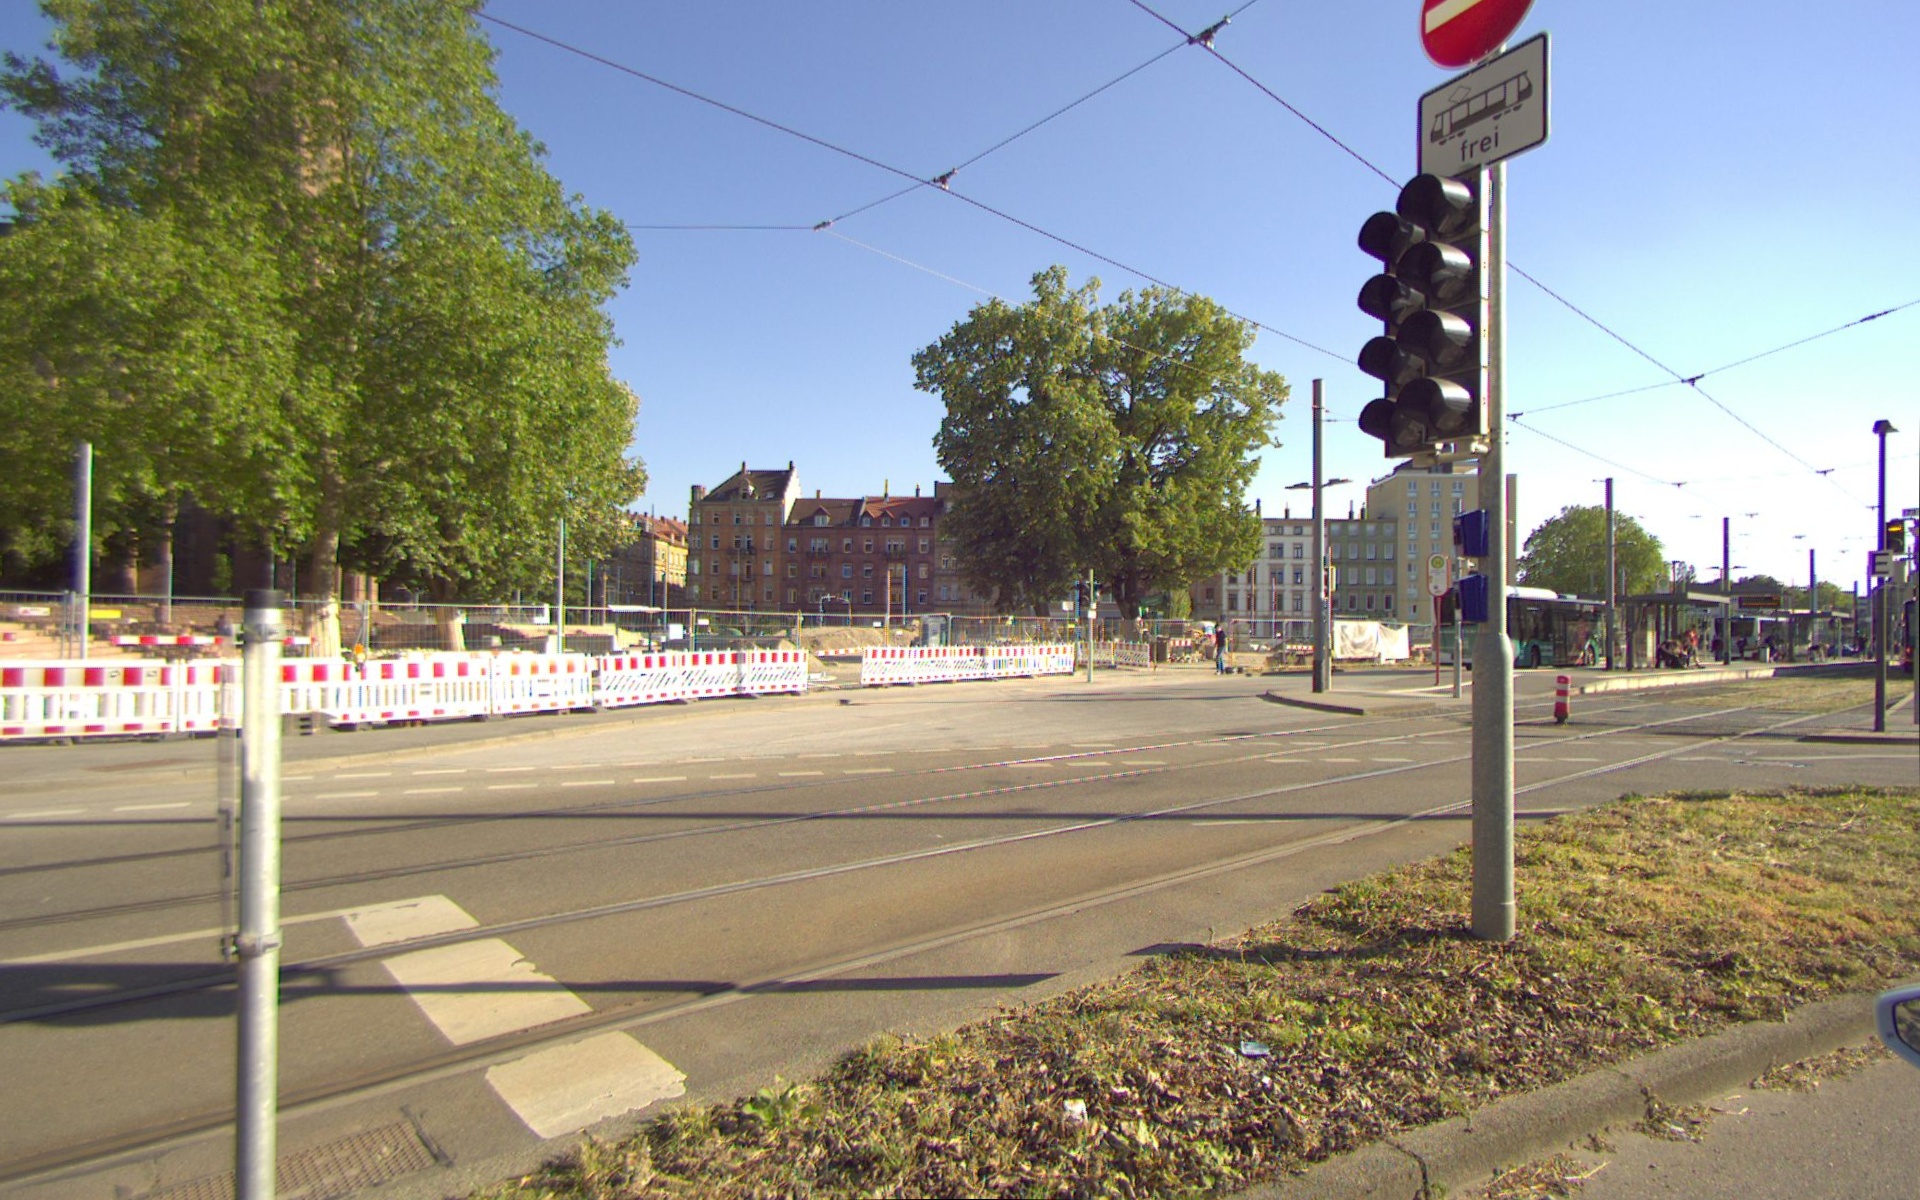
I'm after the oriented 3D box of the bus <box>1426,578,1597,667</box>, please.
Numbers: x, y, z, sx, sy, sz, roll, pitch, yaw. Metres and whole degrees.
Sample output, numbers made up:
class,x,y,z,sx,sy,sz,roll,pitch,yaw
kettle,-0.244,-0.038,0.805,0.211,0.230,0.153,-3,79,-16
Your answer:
class,x,y,z,sx,sy,sz,roll,pitch,yaw
bus,21.999,0.904,39.749,9.564,3.177,2.631,2,0,-40

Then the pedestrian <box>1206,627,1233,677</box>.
class,x,y,z,sx,sy,sz,roll,pitch,yaw
pedestrian,9.175,1.851,35.500,0.699,1.719,0.899,-1,-4,33

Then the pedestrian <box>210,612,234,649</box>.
class,x,y,z,sx,sy,sz,roll,pitch,yaw
pedestrian,-33.549,1.397,45.659,0.665,1.669,0.635,1,-1,-18

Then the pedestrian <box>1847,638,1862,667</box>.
class,x,y,z,sx,sy,sz,roll,pitch,yaw
pedestrian,56.428,3.293,63.350,0.629,1.772,0.570,-1,-2,34

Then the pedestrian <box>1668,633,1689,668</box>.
class,x,y,z,sx,sy,sz,roll,pitch,yaw
pedestrian,28.180,1.987,39.406,0.564,1.363,0.636,-1,-2,43

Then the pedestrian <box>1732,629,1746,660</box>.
class,x,y,z,sx,sy,sz,roll,pitch,yaw
pedestrian,44.733,2.545,57.683,0.564,1.772,0.636,-1,-2,41

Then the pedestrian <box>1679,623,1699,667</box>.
class,x,y,z,sx,sy,sz,roll,pitch,yaw
pedestrian,29.559,1.815,40.727,0.564,1.772,0.636,-1,-2,43

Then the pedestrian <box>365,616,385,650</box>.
class,x,y,z,sx,sy,sz,roll,pitch,yaw
pedestrian,-29.118,1.633,50.001,0.751,1.669,0.671,1,-1,-26

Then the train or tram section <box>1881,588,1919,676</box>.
class,x,y,z,sx,sy,sz,roll,pitch,yaw
train or tram section,44.753,1.496,45.826,12.108,3.644,2.855,2,0,-42

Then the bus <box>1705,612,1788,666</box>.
class,x,y,z,sx,sy,sz,roll,pitch,yaw
bus,53.959,2.637,68.748,13.376,3.317,2.694,2,0,-44

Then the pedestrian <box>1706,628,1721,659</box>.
class,x,y,z,sx,sy,sz,roll,pitch,yaw
pedestrian,43.616,2.501,58.126,0.629,1.772,0.570,-1,-2,34

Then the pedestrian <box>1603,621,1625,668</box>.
class,x,y,z,sx,sy,sz,roll,pitch,yaw
pedestrian,25.165,1.706,38.640,0.554,1.772,0.534,2,-2,-35

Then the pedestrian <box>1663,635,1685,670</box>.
class,x,y,z,sx,sy,sz,roll,pitch,yaw
pedestrian,27.671,2.023,38.931,0.609,1.358,0.438,-1,-2,44

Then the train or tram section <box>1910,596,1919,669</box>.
class,x,y,z,sx,sy,sz,roll,pitch,yaw
train or tram section,53.890,1.824,53.779,12.100,3.644,2.987,2,0,-40
